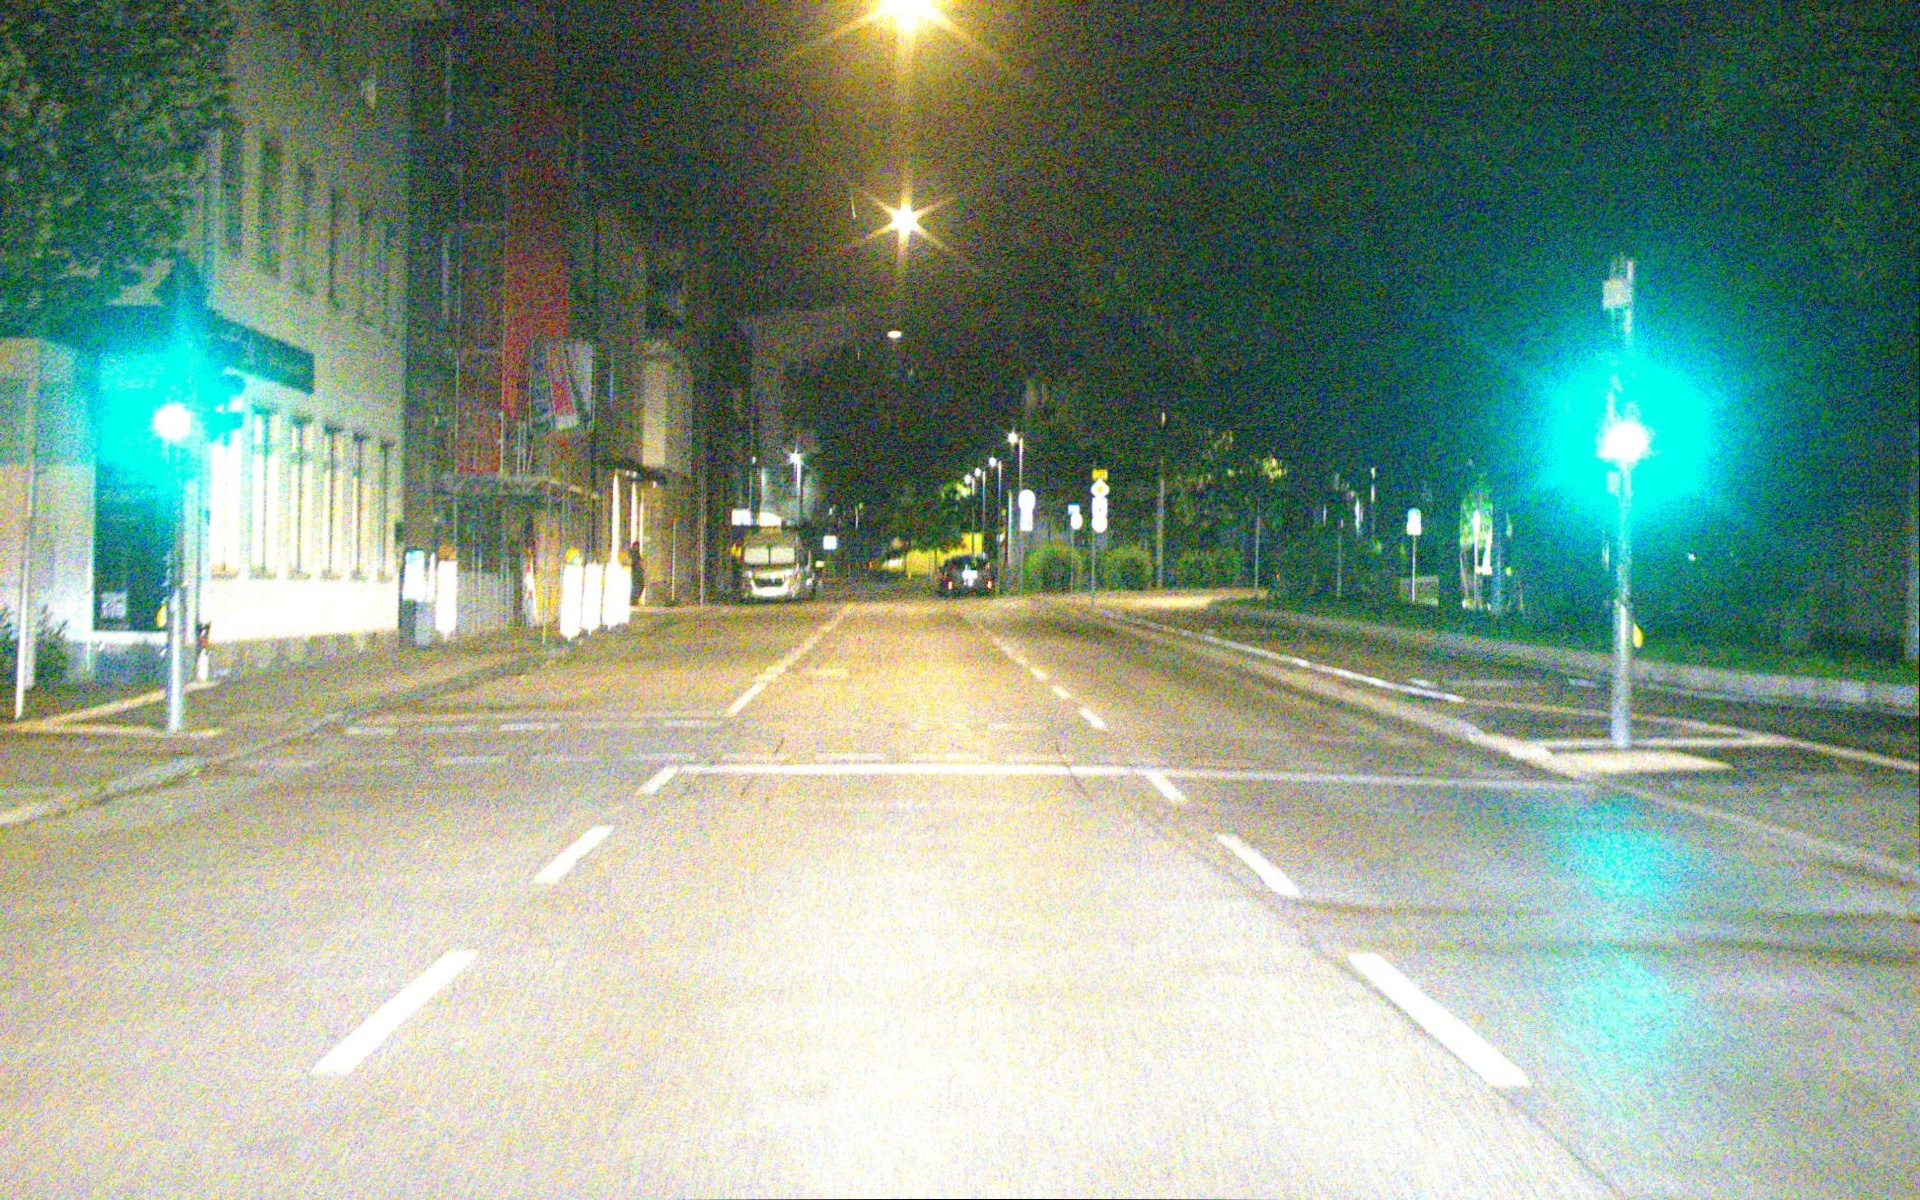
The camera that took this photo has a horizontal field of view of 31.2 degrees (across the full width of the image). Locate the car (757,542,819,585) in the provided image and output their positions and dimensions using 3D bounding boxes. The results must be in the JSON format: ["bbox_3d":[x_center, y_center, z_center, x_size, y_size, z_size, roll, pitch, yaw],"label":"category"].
[{"bbox_3d":[-6.367,-1.345,127.027,1.838,1.502,4.743,-2,1,-8],"label":"car"}]

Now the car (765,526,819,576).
[{"bbox_3d":[-6.686,-1.965,137.366,1.993,1.948,4.806,0,1,-1],"label":"car"}]

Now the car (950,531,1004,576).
[{"bbox_3d":[0.642,-1.699,126.611,1.884,1.597,4.107,-1,1,1],"label":"car"}]

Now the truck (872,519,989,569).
[{"bbox_3d":[-1.772,-3.335,204.162,6.775,2.834,2.000,1,1,-4],"label":"truck"}]

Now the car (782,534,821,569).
[{"bbox_3d":[-7.145,-2.187,155.330,1.677,1.561,4.105,0,0,-1],"label":"car"}]

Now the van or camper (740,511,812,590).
[{"bbox_3d":[-6.195,-1.658,116.141,2.158,2.527,6.227,-2,1,-1],"label":"van or camper"}]
